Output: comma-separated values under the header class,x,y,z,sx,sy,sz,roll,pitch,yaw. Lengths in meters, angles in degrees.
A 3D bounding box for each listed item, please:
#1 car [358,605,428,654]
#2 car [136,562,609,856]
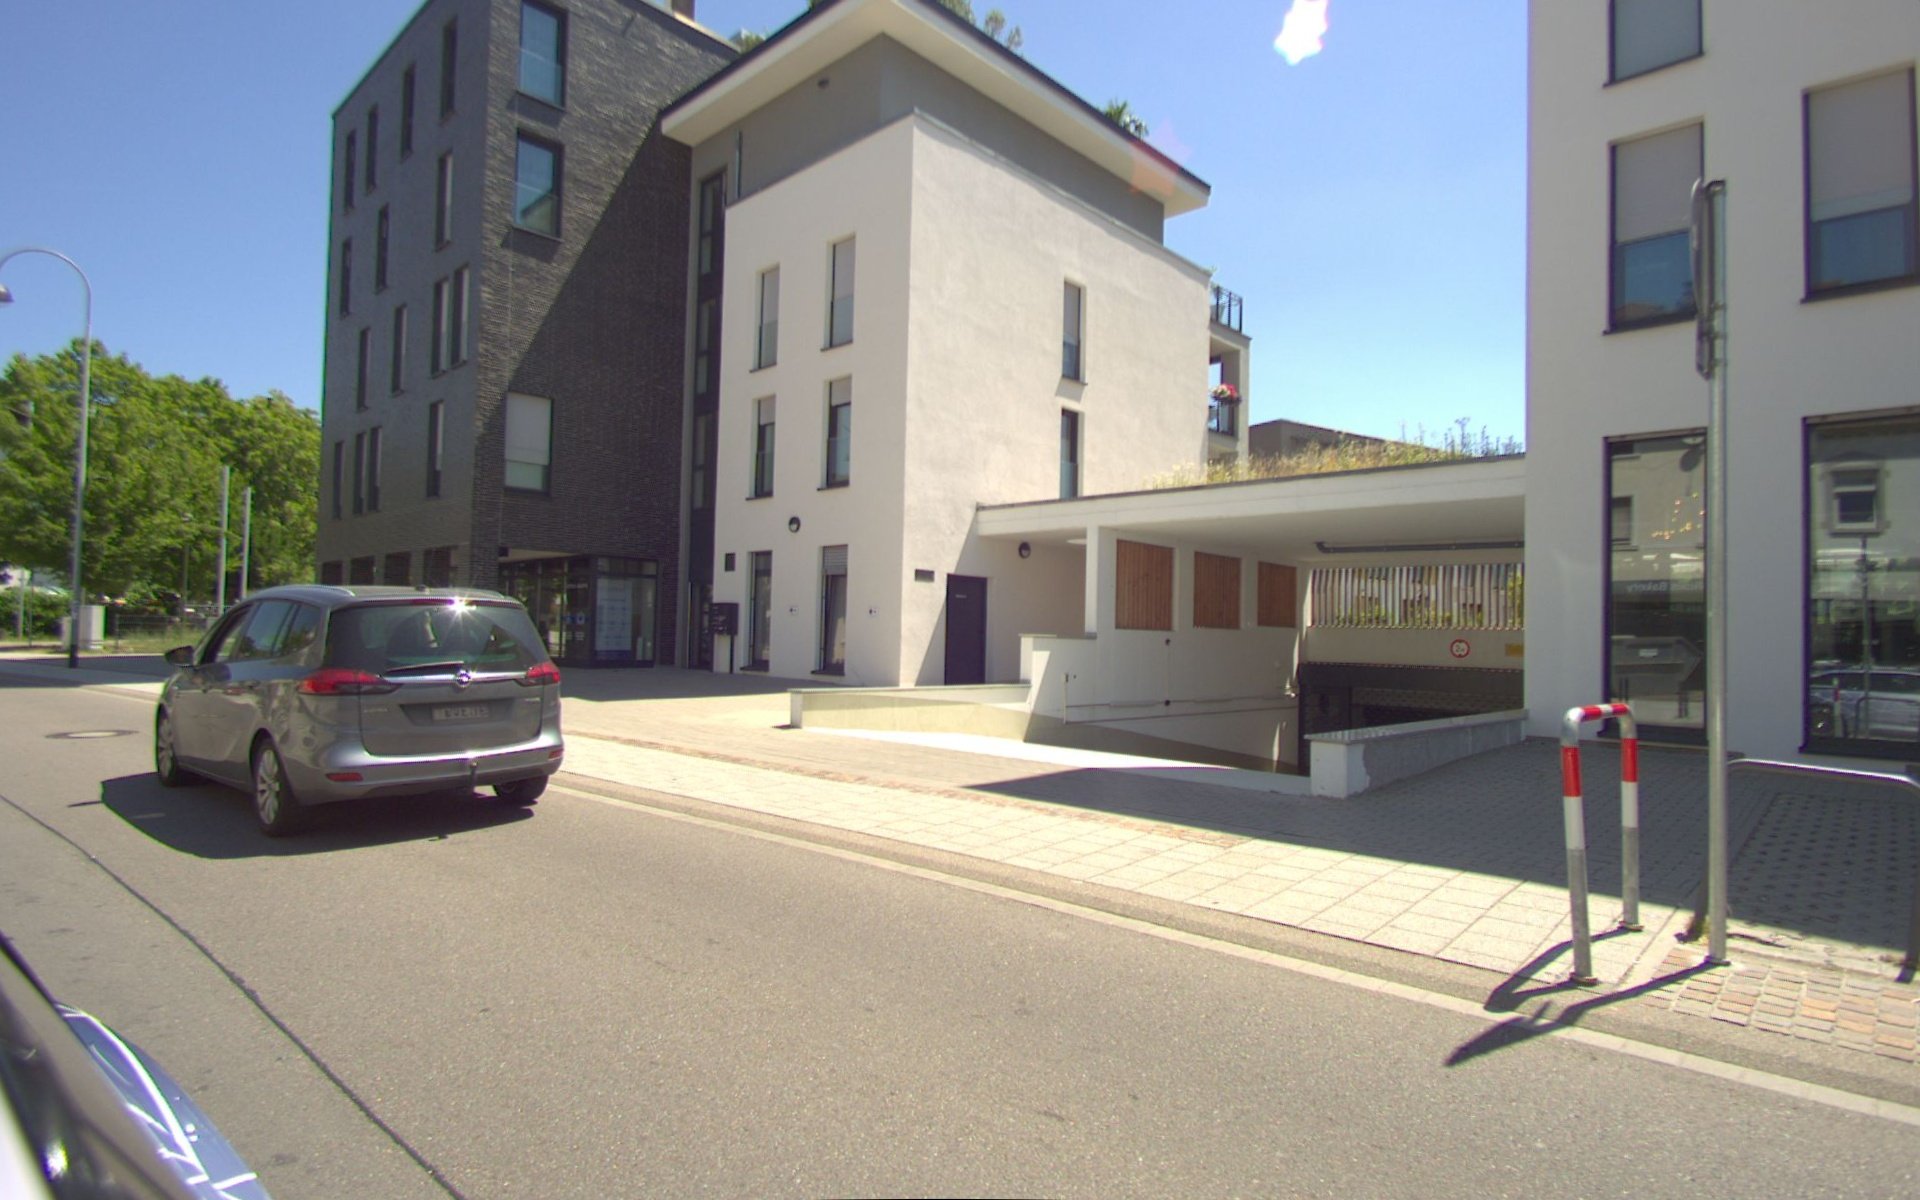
class,x,y,z,sx,sy,sz,roll,pitch,yaw
car,-19.754,1.011,35.175,1.671,1.497,4.090,5,-4,-34
car,-4.737,0.644,7.898,4.233,1.671,1.922,0,-1,41
